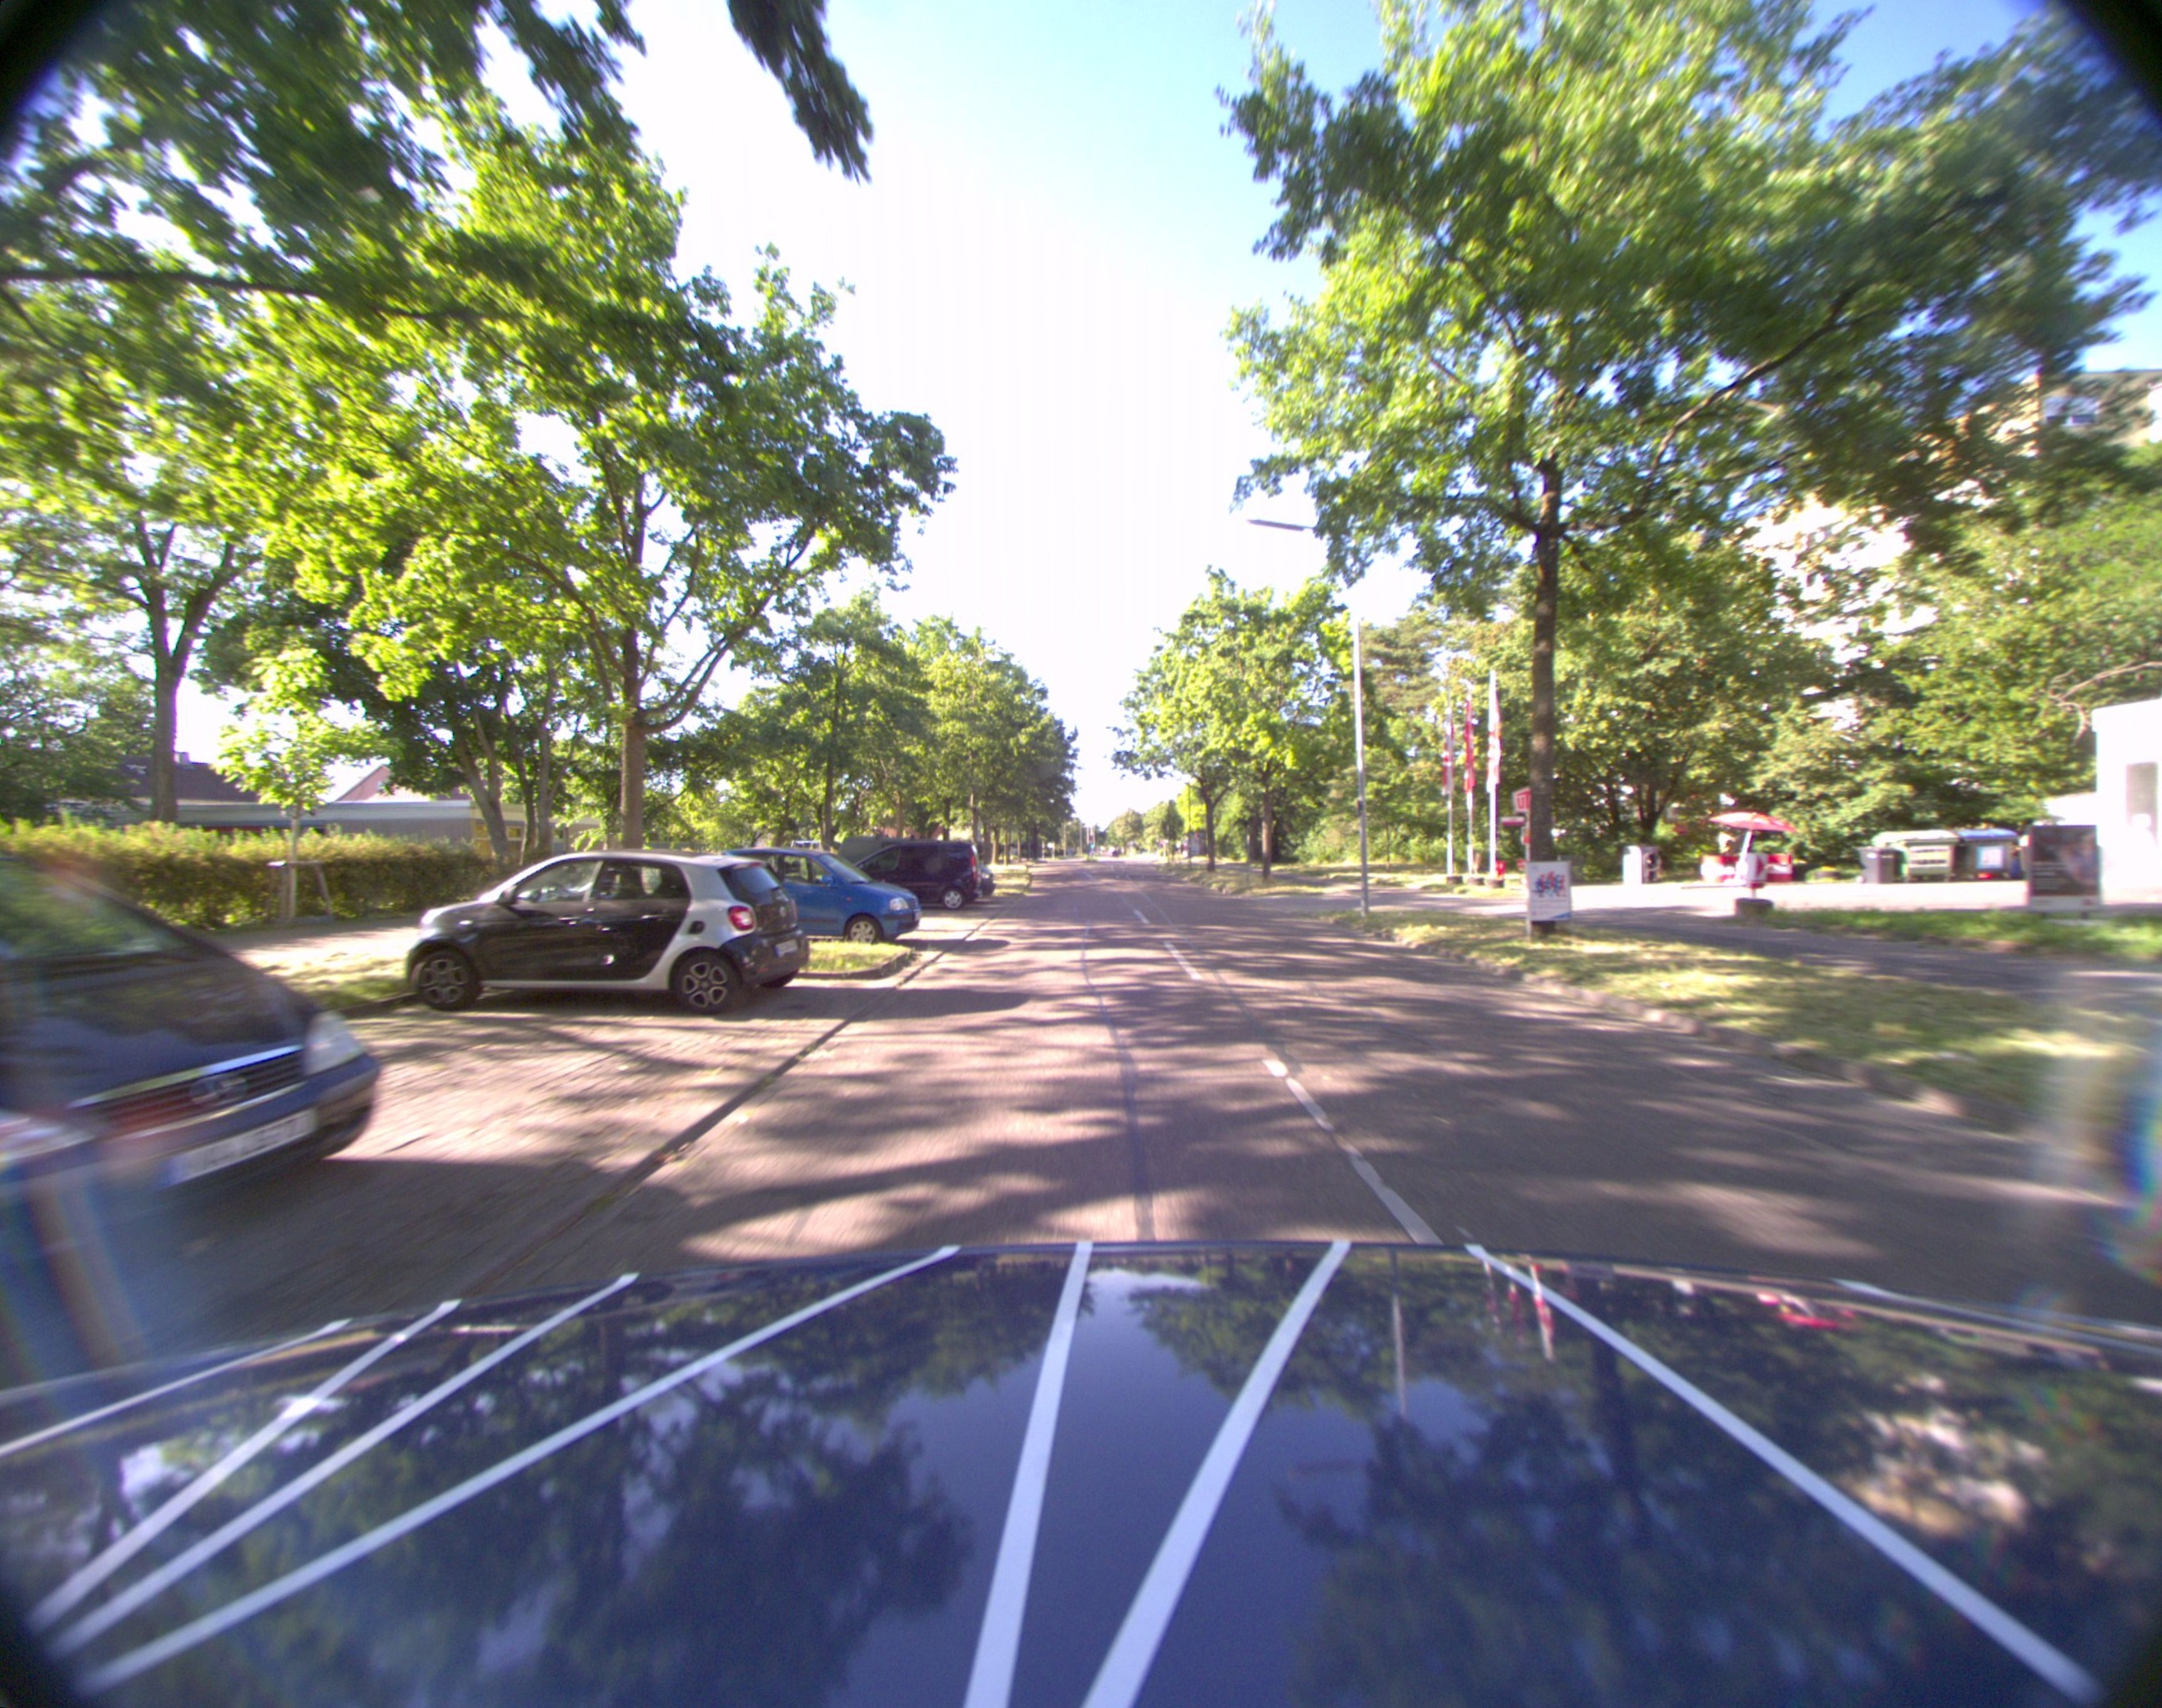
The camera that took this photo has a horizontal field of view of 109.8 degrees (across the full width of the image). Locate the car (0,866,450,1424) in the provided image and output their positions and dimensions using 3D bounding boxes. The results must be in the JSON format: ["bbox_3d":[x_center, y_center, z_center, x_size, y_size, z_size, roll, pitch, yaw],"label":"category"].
[{"bbox_3d":[-4.982,0.864,2.886,3.593,1.567,1.857,1,1,-1],"label":"car"}]

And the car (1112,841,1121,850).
[{"bbox_3d":[8.366,-1.954,177.875,1.904,2.083,3.641,1,1,1],"label":"car"}]

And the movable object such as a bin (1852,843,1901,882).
[{"bbox_3d":[22.352,0.237,21.355,0.570,1.079,0.768,-1,1,1],"label":"movable object such as a bin"}]

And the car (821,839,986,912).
[{"bbox_3d":[-4.636,0.534,20.290,4.020,1.826,1.798,1,1,-2],"label":"car"}]

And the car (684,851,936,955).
[{"bbox_3d":[-4.323,0.742,12.488,3.529,1.523,1.665,1,1,2],"label":"car"}]

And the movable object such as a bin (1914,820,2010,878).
[{"bbox_3d":[24.584,-0.143,21.231,1.307,1.533,1.163,-2,1,1],"label":"movable object such as a bin"}]

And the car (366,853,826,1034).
[{"bbox_3d":[-4.730,0.808,7.817,3.592,1.567,1.786,1,1,2],"label":"car"}]

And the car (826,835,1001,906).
[{"bbox_3d":[-4.897,0.453,22.739,4.815,2.020,1.943,0,1,0],"label":"car"}]

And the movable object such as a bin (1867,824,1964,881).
[{"bbox_3d":[23.327,-0.039,21.276,1.307,1.533,1.267,-1,1,1],"label":"movable object such as a bin"}]
